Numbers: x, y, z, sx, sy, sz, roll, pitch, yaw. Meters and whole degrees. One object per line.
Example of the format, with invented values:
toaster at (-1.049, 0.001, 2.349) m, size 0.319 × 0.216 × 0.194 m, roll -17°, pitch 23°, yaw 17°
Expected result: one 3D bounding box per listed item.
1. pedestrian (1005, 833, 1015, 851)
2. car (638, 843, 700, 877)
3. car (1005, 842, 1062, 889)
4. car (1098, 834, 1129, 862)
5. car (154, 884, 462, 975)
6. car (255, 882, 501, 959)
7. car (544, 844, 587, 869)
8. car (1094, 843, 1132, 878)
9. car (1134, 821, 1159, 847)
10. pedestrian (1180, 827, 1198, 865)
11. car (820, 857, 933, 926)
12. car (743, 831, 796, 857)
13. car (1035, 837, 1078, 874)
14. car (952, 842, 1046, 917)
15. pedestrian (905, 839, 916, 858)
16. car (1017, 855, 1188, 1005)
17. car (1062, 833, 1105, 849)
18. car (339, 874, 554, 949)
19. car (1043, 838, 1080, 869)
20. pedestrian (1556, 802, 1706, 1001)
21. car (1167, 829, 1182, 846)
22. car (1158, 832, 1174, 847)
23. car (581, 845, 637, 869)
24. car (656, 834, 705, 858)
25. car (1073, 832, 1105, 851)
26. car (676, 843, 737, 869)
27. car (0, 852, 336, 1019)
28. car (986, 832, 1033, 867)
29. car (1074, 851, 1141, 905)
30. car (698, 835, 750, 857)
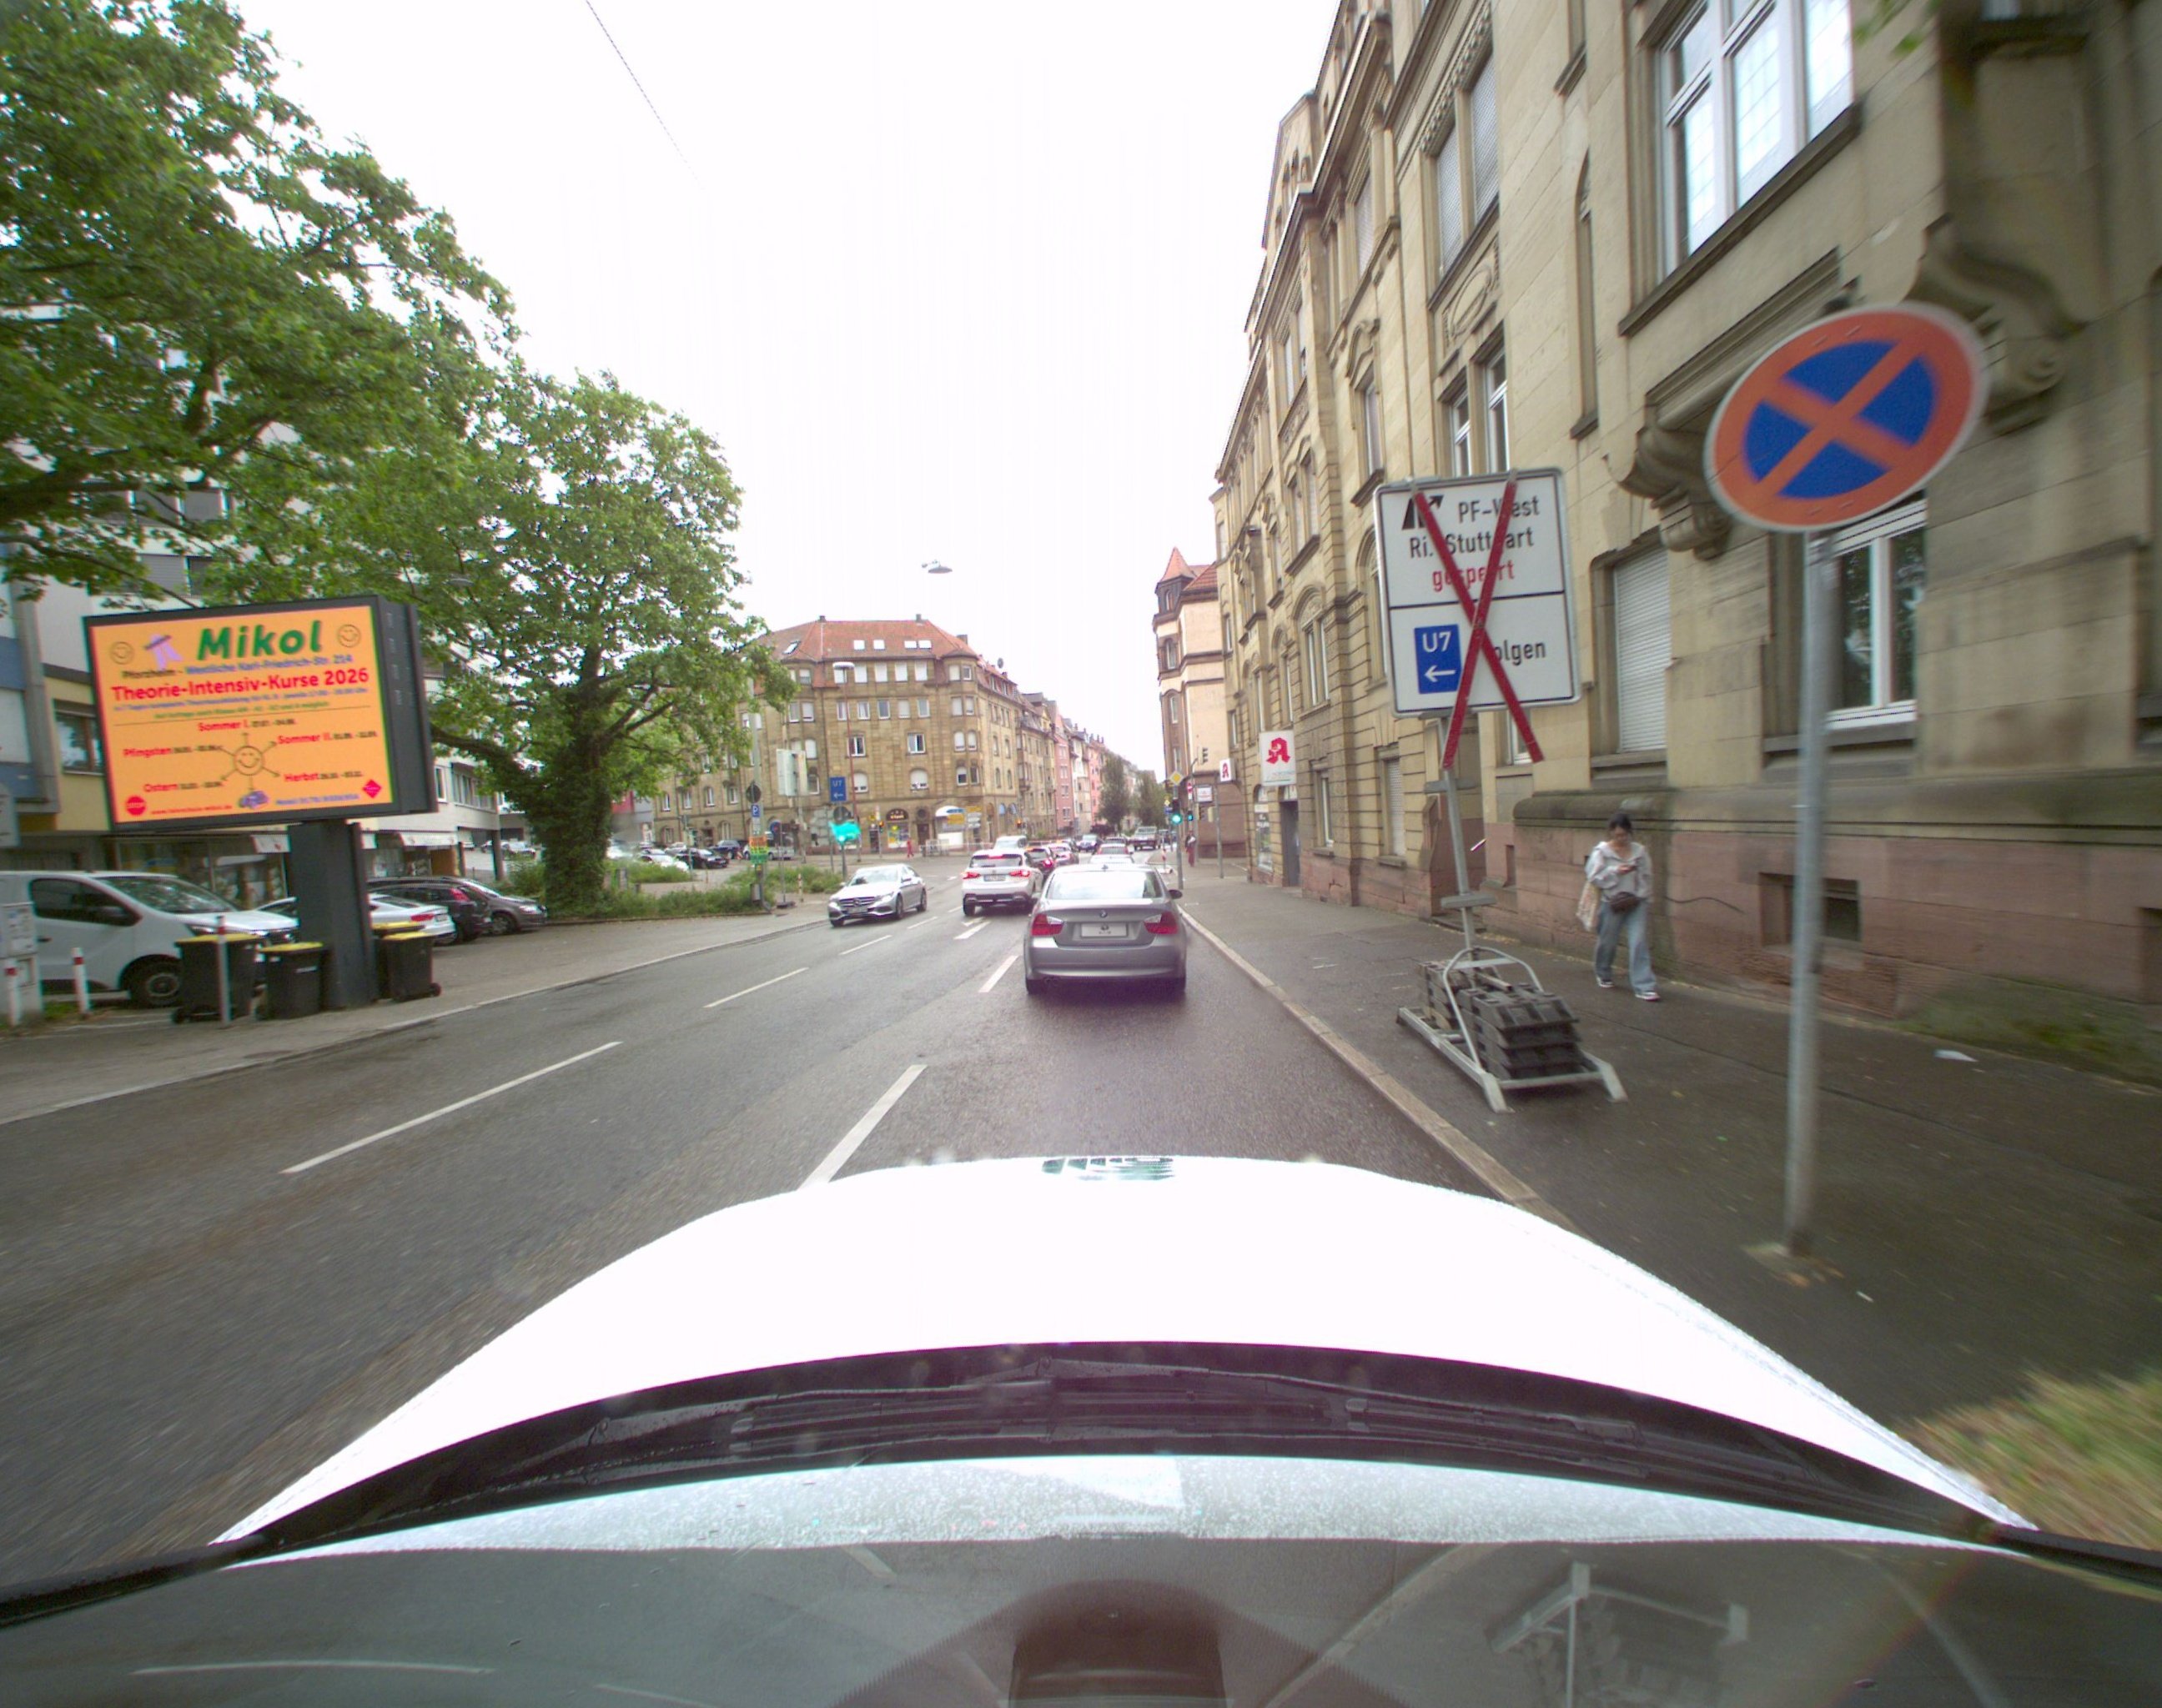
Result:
pedestrian at (-6.380, -1.038, 73.023) m, size 0.727 × 1.577 × 0.530 m, roll -3°, pitch 0°, yaw 11°
car at (-27.387, 0.412, 54.115) m, size 3.948 × 2.013 × 1.890 m, roll -3°, pitch 0°, yaw 34°
car at (-1.808, 0.417, 32.226) m, size 1.752 × 1.707 × 4.004 m, roll -2°, pitch 0°, yaw 3°
car at (2.007, -0.392, 49.107) m, size 1.752 × 1.567 × 4.004 m, roll -2°, pitch 1°, yaw 3°
car at (-15.695, 1.471, 16.838) m, size 4.183 × 1.456 × 1.783 m, roll -3°, pitch 0°, yaw -19°
car at (-16.445, 1.512, 19.315) m, size 3.984 × 1.450 × 1.758 m, roll -3°, pitch 0°, yaw -19°
car at (-44.059, 0.201, 69.545) m, size 3.948 × 2.013 × 1.587 m, roll -1°, pitch 1°, yaw 34°
car at (1.512, 0.246, 36.971) m, size 1.588 × 1.464 × 4.004 m, roll -2°, pitch 0°, yaw 4°
car at (5.606, -1.696, 70.365) m, size 1.986 × 2.106 × 4.002 m, roll -1°, pitch 0°, yaw 2°
pedestrian at (5.552, -0.423, 41.808) m, size 0.739 × 1.910 × 0.659 m, roll -3°, pitch 0°, yaw 1°
car at (-5.480, 0.935, 22.450) m, size 1.731 × 1.526 × 4.474 m, roll -6°, pitch 0°, yaw 2°
car at (-26.497, -0.841, 69.270) m, size 4.237 × 2.101 × 2.013 m, roll 1°, pitch 2°, yaw 30°
car at (-1.165, 0.056, 40.312) m, size 1.752 × 1.707 × 4.004 m, roll -2°, pitch 0°, yaw 3°
car at (-2.056, 0.584, 21.573) m, size 1.861 × 1.625 × 4.003 m, roll -4°, pitch 2°, yaw 2°
pedestrian at (-14.430, -0.505, 68.980) m, size 0.531 × 1.577 × 0.724 m, roll -3°, pitch 0°, yaw 29°
car at (0.318, 0.743, 9.714) m, size 1.616 × 1.383 × 3.619 m, roll -2°, pitch 0°, yaw 3°
car at (0.332, -1.615, 101.202) m, size 5.157 × 2.014 × 2.700 m, roll 0°, pitch 0°, yaw 1°
car at (-16.852, 1.464, 21.896) m, size 4.138 × 1.653 × 1.757 m, roll -2°, pitch 0°, yaw -21°
car at (-1.107, -0.041, 47.608) m, size 1.752 × 1.707 × 4.004 m, roll -2°, pitch 0°, yaw 3°
pedestrian at (4.551, 0.376, 6.785) m, size 0.629 × 1.508 × 0.693 m, roll -7°, pitch 0°, yaw 1°
car at (11.681, -1.984, 101.709) m, size 1.715 × 2.014 × 4.009 m, roll 0°, pitch 0°, yaw 8°
car at (9.295, -1.550, 89.394) m, size 1.717 × 1.552 × 4.005 m, roll 0°, pitch 0°, yaw 4°
car at (-38.078, 0.217, 65.650) m, size 4.195 × 1.726 × 2.013 m, roll -1°, pitch 3°, yaw 31°
car at (-36.949, -0.790, 75.204) m, size 4.237 × 2.101 × 2.013 m, roll 1°, pitch 2°, yaw 30°
car at (0.723, -1.057, 68.952) m, size 1.831 × 1.541 × 4.015 m, roll 0°, pitch 0°, yaw 14°
car at (-27.195, 0.150, 59.095) m, size 4.194 × 1.726 × 2.013 m, roll 0°, pitch 2°, yaw 33°
car at (-14.526, 1.149, 11.786) m, size 5.075 × 2.105 × 1.980 m, roll -3°, pitch 0°, yaw -19°
car at (-4.210, -0.298, 48.694) m, size 1.751 × 1.925 × 4.333 m, roll -3°, pitch 0°, yaw 8°
car at (0.843, 0.638, 24.013) m, size 1.752 × 1.383 × 4.004 m, roll -2°, pitch 0°, yaw 3°
car at (-31.063, -0.726, 70.920) m, size 4.237 × 1.838 × 2.013 m, roll 1°, pitch 2°, yaw 30°
